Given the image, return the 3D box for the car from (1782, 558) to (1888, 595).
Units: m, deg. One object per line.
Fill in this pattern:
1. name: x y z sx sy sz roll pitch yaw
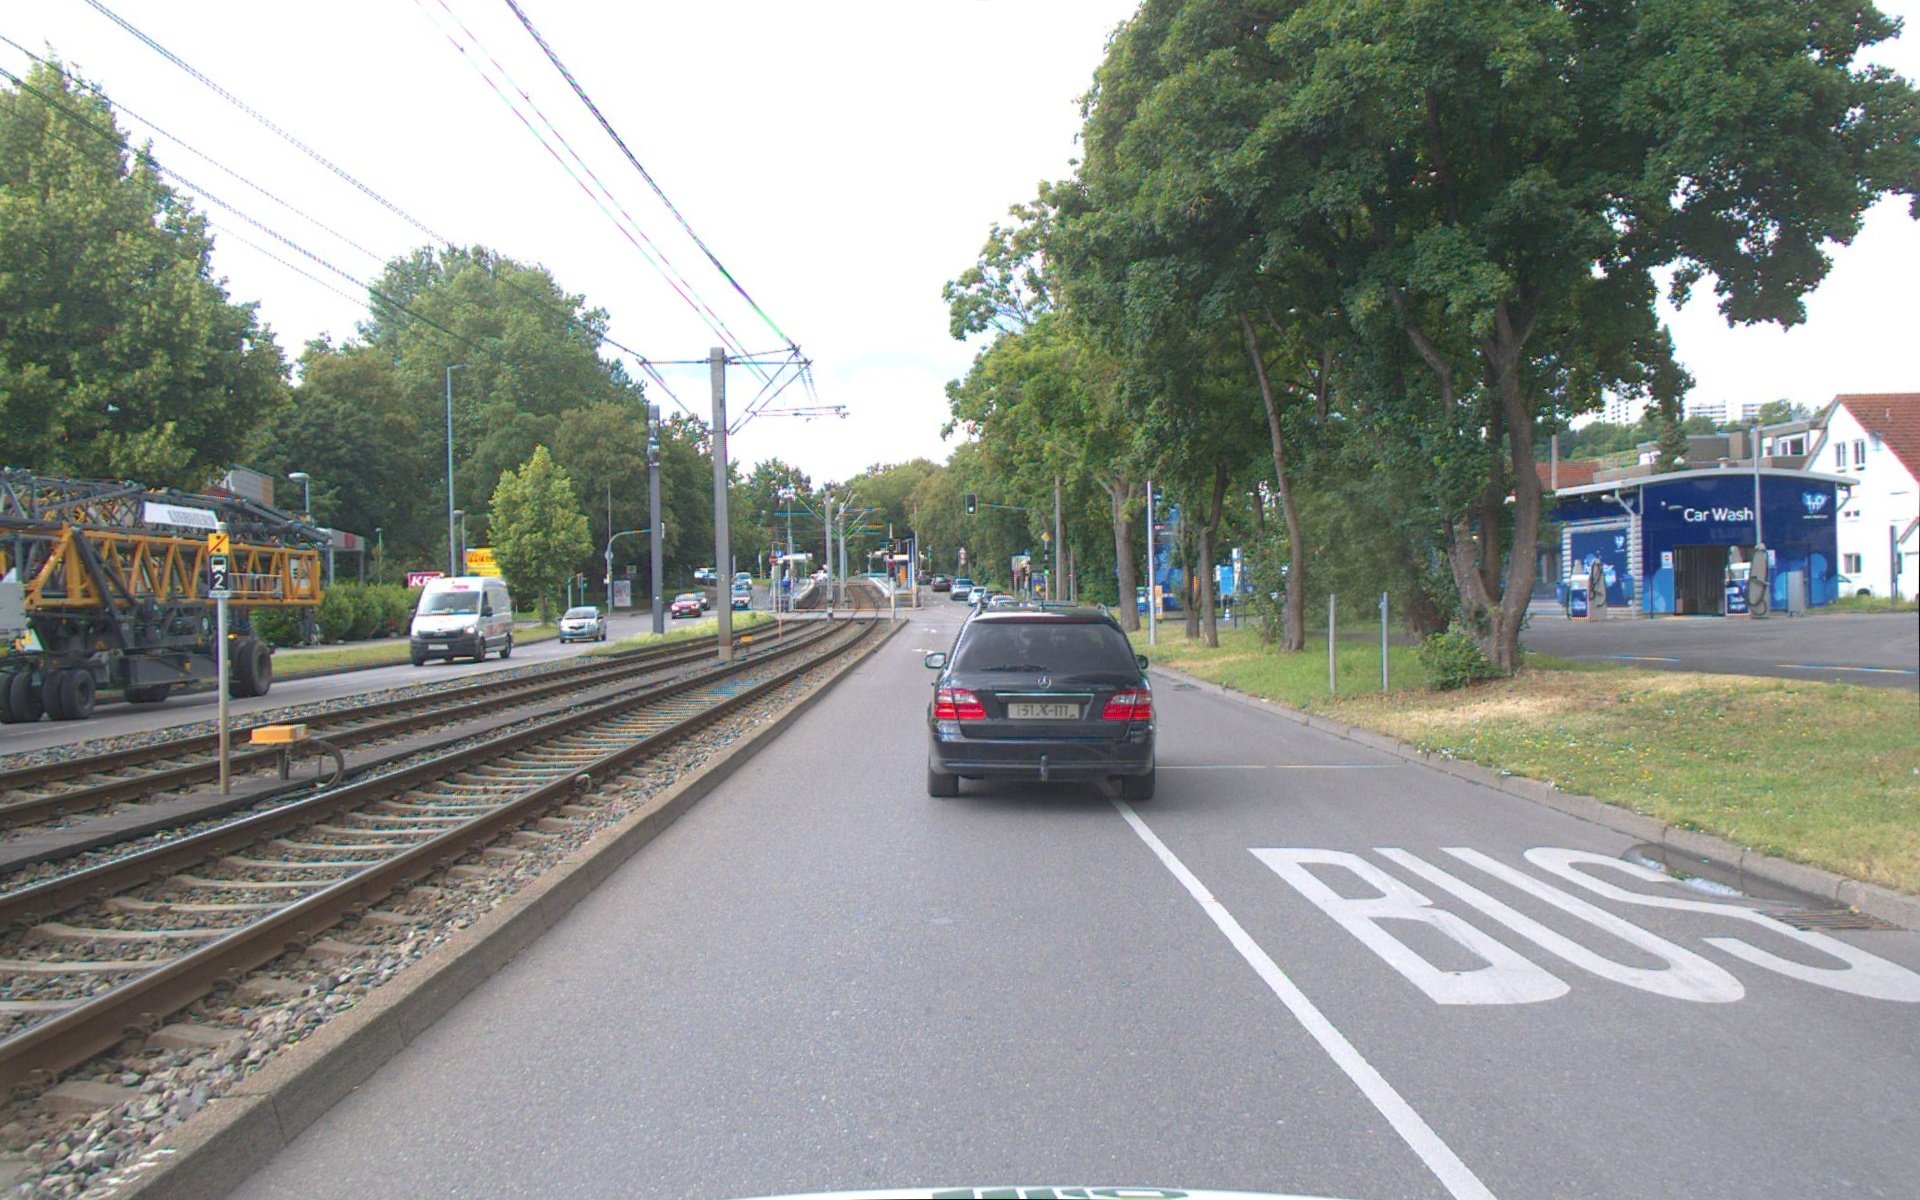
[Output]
1. car: 41.614 -1.097 78.702 4.132 1.713 1.776 0 0 -4

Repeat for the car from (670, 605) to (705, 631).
1. car: -18.176 1.187 110.395 1.729 1.676 3.770 0 0 -1

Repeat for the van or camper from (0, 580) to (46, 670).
1. van or camper: -24.781 0.591 40.308 3.909 2.172 1.876 0 0 -6

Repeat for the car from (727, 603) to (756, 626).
1. car: -16.447 1.073 124.759 1.729 1.676 3.770 0 0 -1

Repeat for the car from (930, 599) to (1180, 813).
1. car: 0.647 0.752 13.651 1.772 1.500 3.880 0 0 -1

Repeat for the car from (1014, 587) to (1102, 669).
1. car: 2.232 0.636 38.543 1.744 1.781 3.717 1 -1 -1

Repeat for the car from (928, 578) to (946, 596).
1. car: -2.554 -1.411 183.214 1.953 1.870 3.999 0 0 -1

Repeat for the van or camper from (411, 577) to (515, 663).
1. van or camper: -14.950 0.572 50.051 1.955 2.395 5.757 -1 0 -6

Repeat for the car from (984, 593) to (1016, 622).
1. car: 2.649 0.520 110.494 1.953 1.870 3.999 0 0 -1

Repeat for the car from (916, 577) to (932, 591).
1. car: -4.309 -1.893 198.283 1.634 1.559 3.767 0 0 -4

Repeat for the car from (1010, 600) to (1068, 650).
1. car: 2.375 0.737 50.314 1.539 1.439 3.353 1 0 -1

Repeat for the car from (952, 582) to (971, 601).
1. car: 0.130 -0.700 143.780 1.616 1.581 3.647 0 0 -1

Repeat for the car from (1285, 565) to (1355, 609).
1. car: 14.962 -0.557 68.550 1.965 1.712 4.578 -1 0 23

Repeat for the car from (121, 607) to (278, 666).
1. car: -23.084 1.081 50.320 3.910 1.627 1.794 -2 0 -6

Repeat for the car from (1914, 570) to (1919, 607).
1. car: 38.034 -0.448 62.482 1.553 1.419 3.407 1 0 -13

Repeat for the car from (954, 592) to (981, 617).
1. car: 0.554 0.353 126.422 1.953 1.870 3.999 0 0 -1

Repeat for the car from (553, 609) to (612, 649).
1. car: -16.570 1.249 72.751 1.729 1.676 3.770 0 0 -1

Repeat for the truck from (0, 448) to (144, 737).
1. truck: -13.637 -0.065 19.948 2.653 3.727 11.103 -1 0 -4

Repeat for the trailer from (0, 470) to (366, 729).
1. trailer: -14.315 0.006 30.556 2.651 3.724 13.288 -1 0 -4
